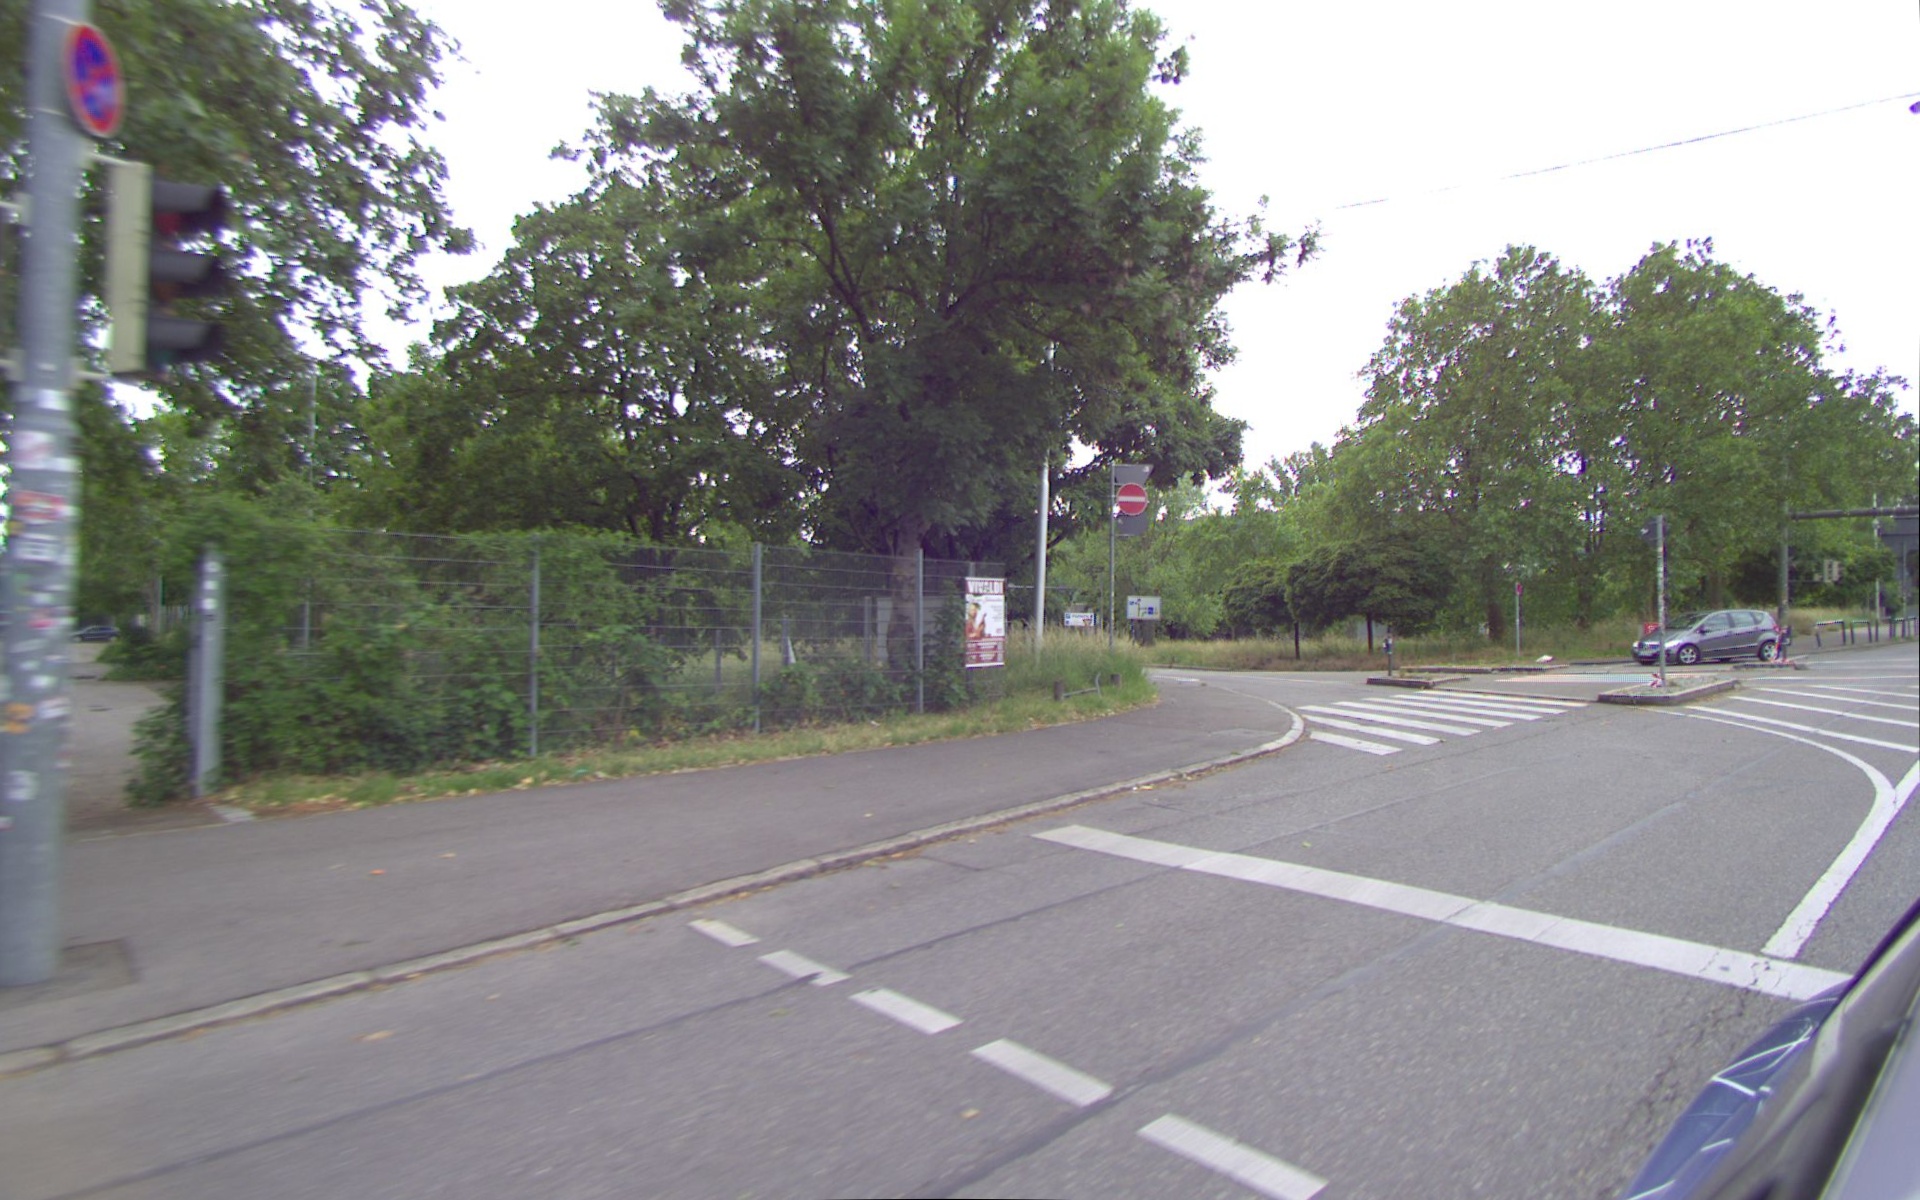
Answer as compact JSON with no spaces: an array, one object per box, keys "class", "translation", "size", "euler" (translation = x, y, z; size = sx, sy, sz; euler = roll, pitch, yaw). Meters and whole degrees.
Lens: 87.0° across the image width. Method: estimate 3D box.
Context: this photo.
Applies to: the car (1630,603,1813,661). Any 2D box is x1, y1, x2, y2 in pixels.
[{"class":"car","translation":[22.323,0.935,29.766],"size":[3.957,1.637,1.832],"euler":[0,-2,0]}]
